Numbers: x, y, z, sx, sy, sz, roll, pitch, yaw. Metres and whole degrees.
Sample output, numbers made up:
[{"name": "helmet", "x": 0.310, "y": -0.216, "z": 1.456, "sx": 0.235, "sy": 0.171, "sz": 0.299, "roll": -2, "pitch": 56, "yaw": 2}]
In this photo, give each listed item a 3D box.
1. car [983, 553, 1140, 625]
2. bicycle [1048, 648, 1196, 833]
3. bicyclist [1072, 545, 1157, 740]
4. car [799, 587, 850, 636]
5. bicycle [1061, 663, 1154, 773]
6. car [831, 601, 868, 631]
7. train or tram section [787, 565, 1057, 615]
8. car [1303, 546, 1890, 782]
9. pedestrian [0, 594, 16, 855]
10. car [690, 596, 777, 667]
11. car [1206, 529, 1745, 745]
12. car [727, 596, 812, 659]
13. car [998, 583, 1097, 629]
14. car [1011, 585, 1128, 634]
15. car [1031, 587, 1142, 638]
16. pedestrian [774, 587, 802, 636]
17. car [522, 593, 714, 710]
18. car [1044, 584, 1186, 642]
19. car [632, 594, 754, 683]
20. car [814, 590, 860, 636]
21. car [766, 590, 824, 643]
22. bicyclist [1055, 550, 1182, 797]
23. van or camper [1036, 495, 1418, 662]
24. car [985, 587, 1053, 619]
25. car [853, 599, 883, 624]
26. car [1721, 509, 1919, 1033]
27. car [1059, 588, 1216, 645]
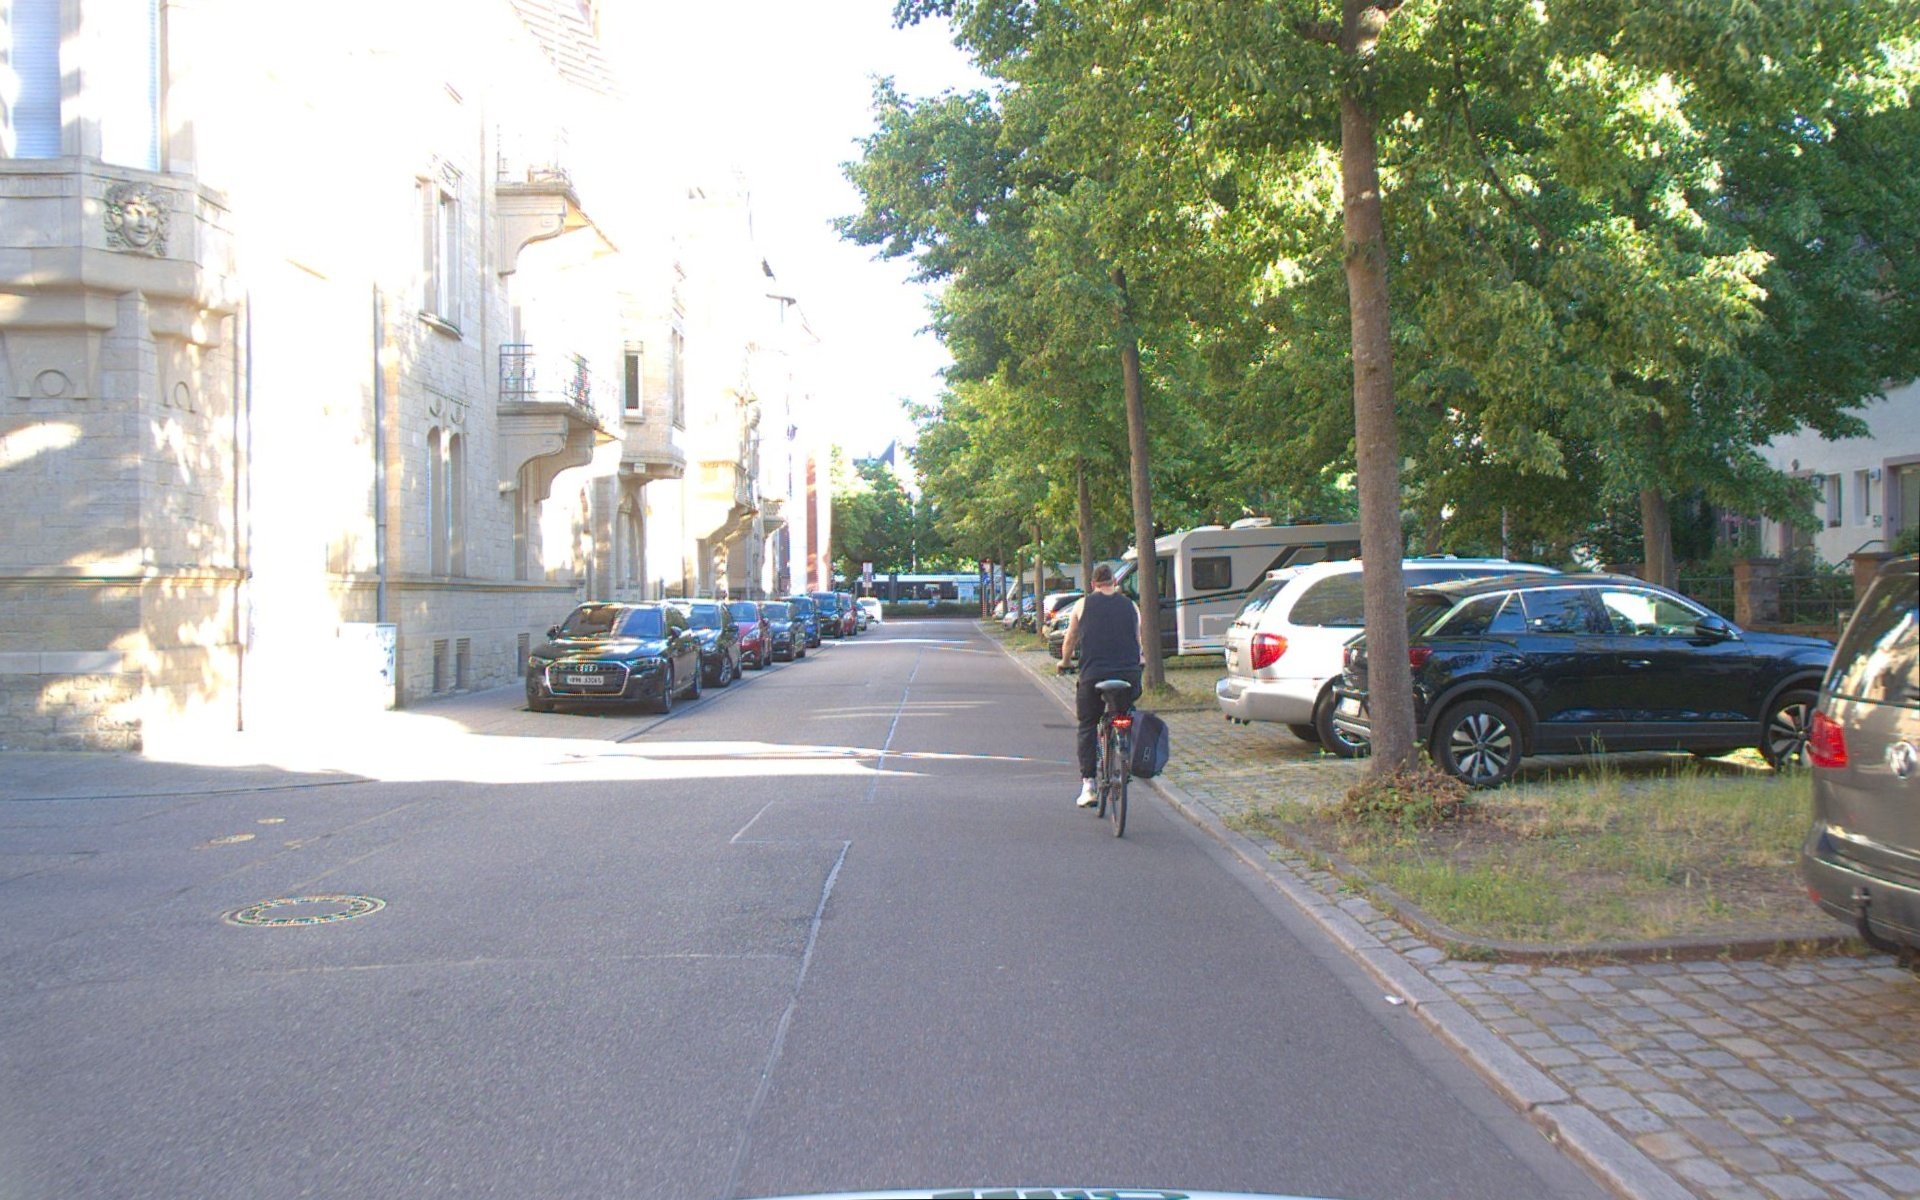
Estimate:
[{"name": "car", "x": 4.684, "y": -0.523, "z": 77.385, "sx": 7.005, "sy": 3.030, "sz": 2.463, "roll": -2, "pitch": 0, "yaw": -4}, {"name": "bicycle", "x": 1.040, "y": 0.884, "z": 11.037, "sx": 0.722, "sy": 1.072, "sz": 1.955, "roll": 1, "pitch": -1, "yaw": -2}, {"name": "bicyclist", "x": 1.354, "y": 0.363, "z": 14.639, "sx": 0.675, "sy": 1.655, "sz": 0.999, "roll": 1, "pitch": 0, "yaw": 2}, {"name": "car", "x": -5.270, "y": 0.410, "z": 64.911, "sx": 1.607, "sy": 1.814, "sz": 4.354, "roll": 2, "pitch": 1, "yaw": 0}, {"name": "bicycle", "x": 1.275, "y": 1.011, "z": 14.588, "sx": 0.620, "sy": 0.813, "sz": 1.832, "roll": -1, "pitch": 0, "yaw": -1}, {"name": "car", "x": -5.516, "y": 0.799, "z": 83.131, "sx": 1.551, "sy": 1.367, "sz": 4.131, "roll": 2, "pitch": 1, "yaw": 0}, {"name": "train or tram section", "x": -3.050, "y": -0.768, "z": 143.004, "sx": 23.483, "sy": 3.773, "sz": 4.255, "roll": 1, "pitch": -1, "yaw": -23}, {"name": "car", "x": 4.939, "y": 0.463, "z": 13.217, "sx": 3.985, "sy": 1.502, "sz": 1.694, "roll": -4, "pitch": 1, "yaw": 0}, {"name": "pedestrian", "x": -6.382, "y": 0.790, "z": 9.838, "sx": 0.870, "sy": 1.604, "sz": 1.053, "roll": -2, "pitch": 1, "yaw": -1}, {"name": "car", "x": -5.016, "y": 0.663, "z": 36.990, "sx": 1.596, "sy": 1.478, "sz": 3.835, "roll": 1, "pitch": 0, "yaw": -3}, {"name": "car", "x": 4.765, "y": 0.329, "z": 15.784, "sx": 4.525, "sy": 1.739, "sz": 1.833, "roll": -3, "pitch": 0, "yaw": 1}, {"name": "car", "x": -4.882, "y": 0.660, "z": 42.796, "sx": 1.641, "sy": 1.455, "sz": 4.550, "roll": 2, "pitch": 1, "yaw": 0}, {"name": "car", "x": 3.683, "y": 0.267, "z": 70.031, "sx": 4.002, "sy": 1.678, "sz": 1.640, "roll": -4, "pitch": 0, "yaw": -3}, {"name": "car", "x": 3.866, "y": 0.335, "z": 58.969, "sx": 4.053, "sy": 1.628, "sz": 1.702, "roll": -1, "pitch": -2, "yaw": 1}, {"name": "car", "x": 4.311, "y": 0.450, "z": 56.667, "sx": 3.695, "sy": 1.628, "sz": 1.691, "roll": -1, "pitch": -2, "yaw": 1}, {"name": "pedestrian", "x": -6.220, "y": 0.412, "z": 59.889, "sx": 0.919, "sy": 1.773, "sz": 0.735, "roll": 1, "pitch": -1, "yaw": -1}, {"name": "car", "x": -4.771, "y": 0.676, "z": 23.768, "sx": 1.774, "sy": 1.451, "sz": 4.897, "roll": 2, "pitch": 0, "yaw": -1}, {"name": "car", "x": 4.663, "y": 0.409, "z": 50.017, "sx": 4.136, "sy": 1.628, "sz": 1.691, "roll": -1, "pitch": -2, "yaw": 1}, {"name": "car", "x": -4.729, "y": 0.666, "z": 29.761, "sx": 1.662, "sy": 1.479, "sz": 4.026, "roll": 0, "pitch": -1, "yaw": -2}, {"name": "car", "x": -5.326, "y": 0.548, "z": 71.886, "sx": 1.654, "sy": 1.857, "sz": 4.272, "roll": 2, "pitch": 1, "yaw": 0}, {"name": "car", "x": -5.161, "y": 0.499, "z": 52.061, "sx": 1.563, "sy": 1.515, "sz": 2.735, "roll": 3, "pitch": 1, "yaw": -2}, {"name": "bicyclist", "x": 1.048, "y": 0.478, "z": 11.092, "sx": 0.715, "sy": 1.575, "sz": 0.884, "roll": 1, "pitch": -1, "yaw": -2}, {"name": "van or camper", "x": 5.105, "y": -0.418, "z": 32.493, "sx": 7.000, "sy": 2.693, "sz": 2.465, "roll": -4, "pitch": 0, "yaw": 1}, {"name": "car", "x": 3.534, "y": 0.180, "z": 99.593, "sx": 3.907, "sy": 1.835, "sz": 1.833, "roll": 1, "pitch": -1, "yaw": -3}, {"name": "car", "x": -5.595, "y": 0.657, "z": 100.497, "sx": 1.551, "sy": 1.399, "sz": 4.131, "roll": 2, "pitch": 1, "yaw": 0}, {"name": "car", "x": 5.207, "y": 0.398, "z": 5.570, "sx": 4.453, "sy": 1.662, "sz": 1.810, "roll": -4, "pitch": 0, "yaw": -7}, {"name": "car", "x": 4.746, "y": 0.435, "z": 44.517, "sx": 3.953, "sy": 1.479, "sz": 1.689, "roll": -1, "pitch": 0, "yaw": -5}]
